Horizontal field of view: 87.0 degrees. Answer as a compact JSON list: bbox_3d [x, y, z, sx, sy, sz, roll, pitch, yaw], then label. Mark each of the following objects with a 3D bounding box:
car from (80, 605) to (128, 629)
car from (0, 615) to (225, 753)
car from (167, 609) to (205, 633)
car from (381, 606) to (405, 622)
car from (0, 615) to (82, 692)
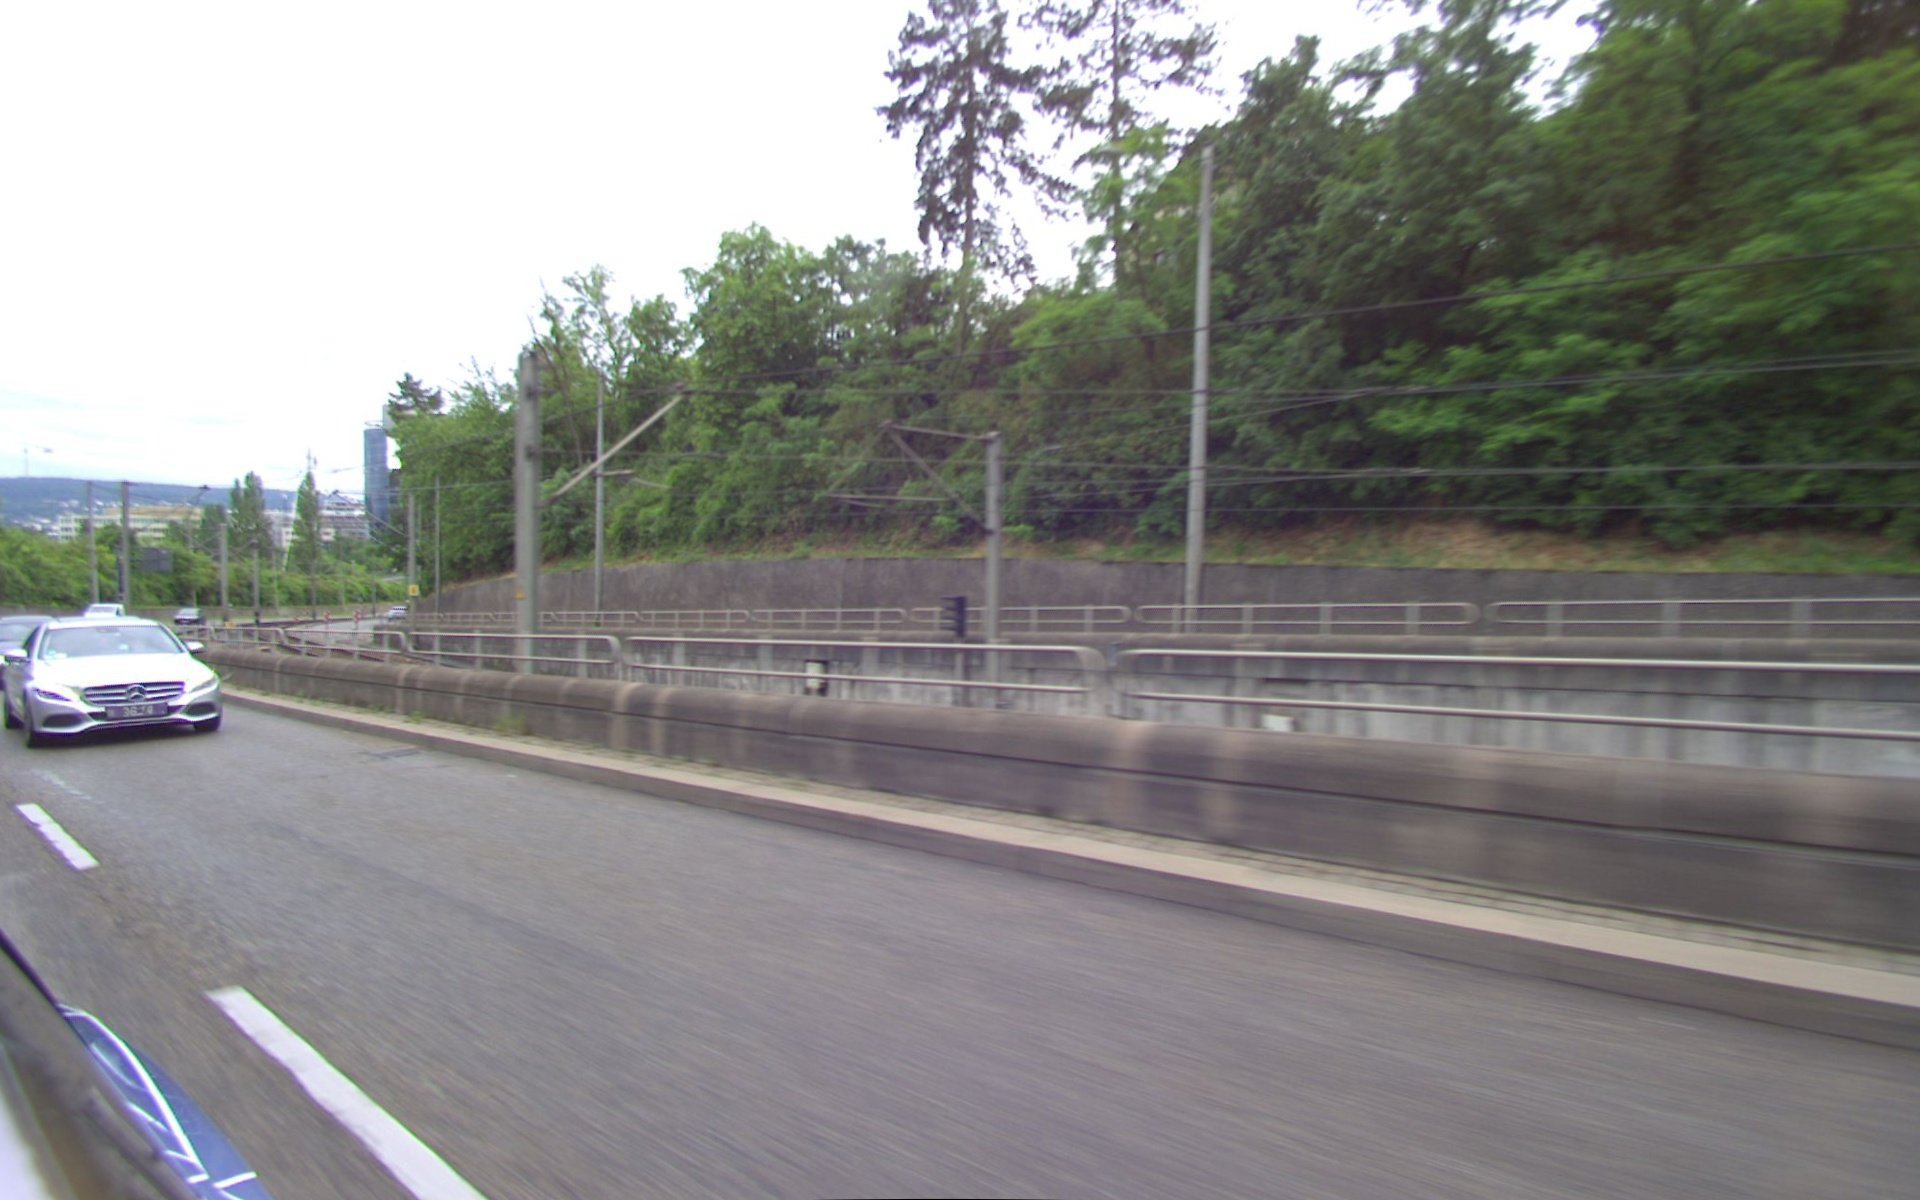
[{"bbox_3d":[-63.705,1.233,75.386,1.780,1.521,4.014,-2,3,-26],"label":"car"},{"bbox_3d":[-10.914,0.926,12.862,4.316,1.413,1.836,-1,0,44],"label":"car"},{"bbox_3d":[-66.449,1.780,86.944,1.966,2.029,4.508,0,-1,-29],"label":"car"},{"bbox_3d":[-63.891,1.570,114.145,1.907,1.696,4.423,0,-1,-23],"label":"car"},{"bbox_3d":[-19.959,1.094,21.573,1.705,1.482,3.891,-1,-1,-43],"label":"car"}]
